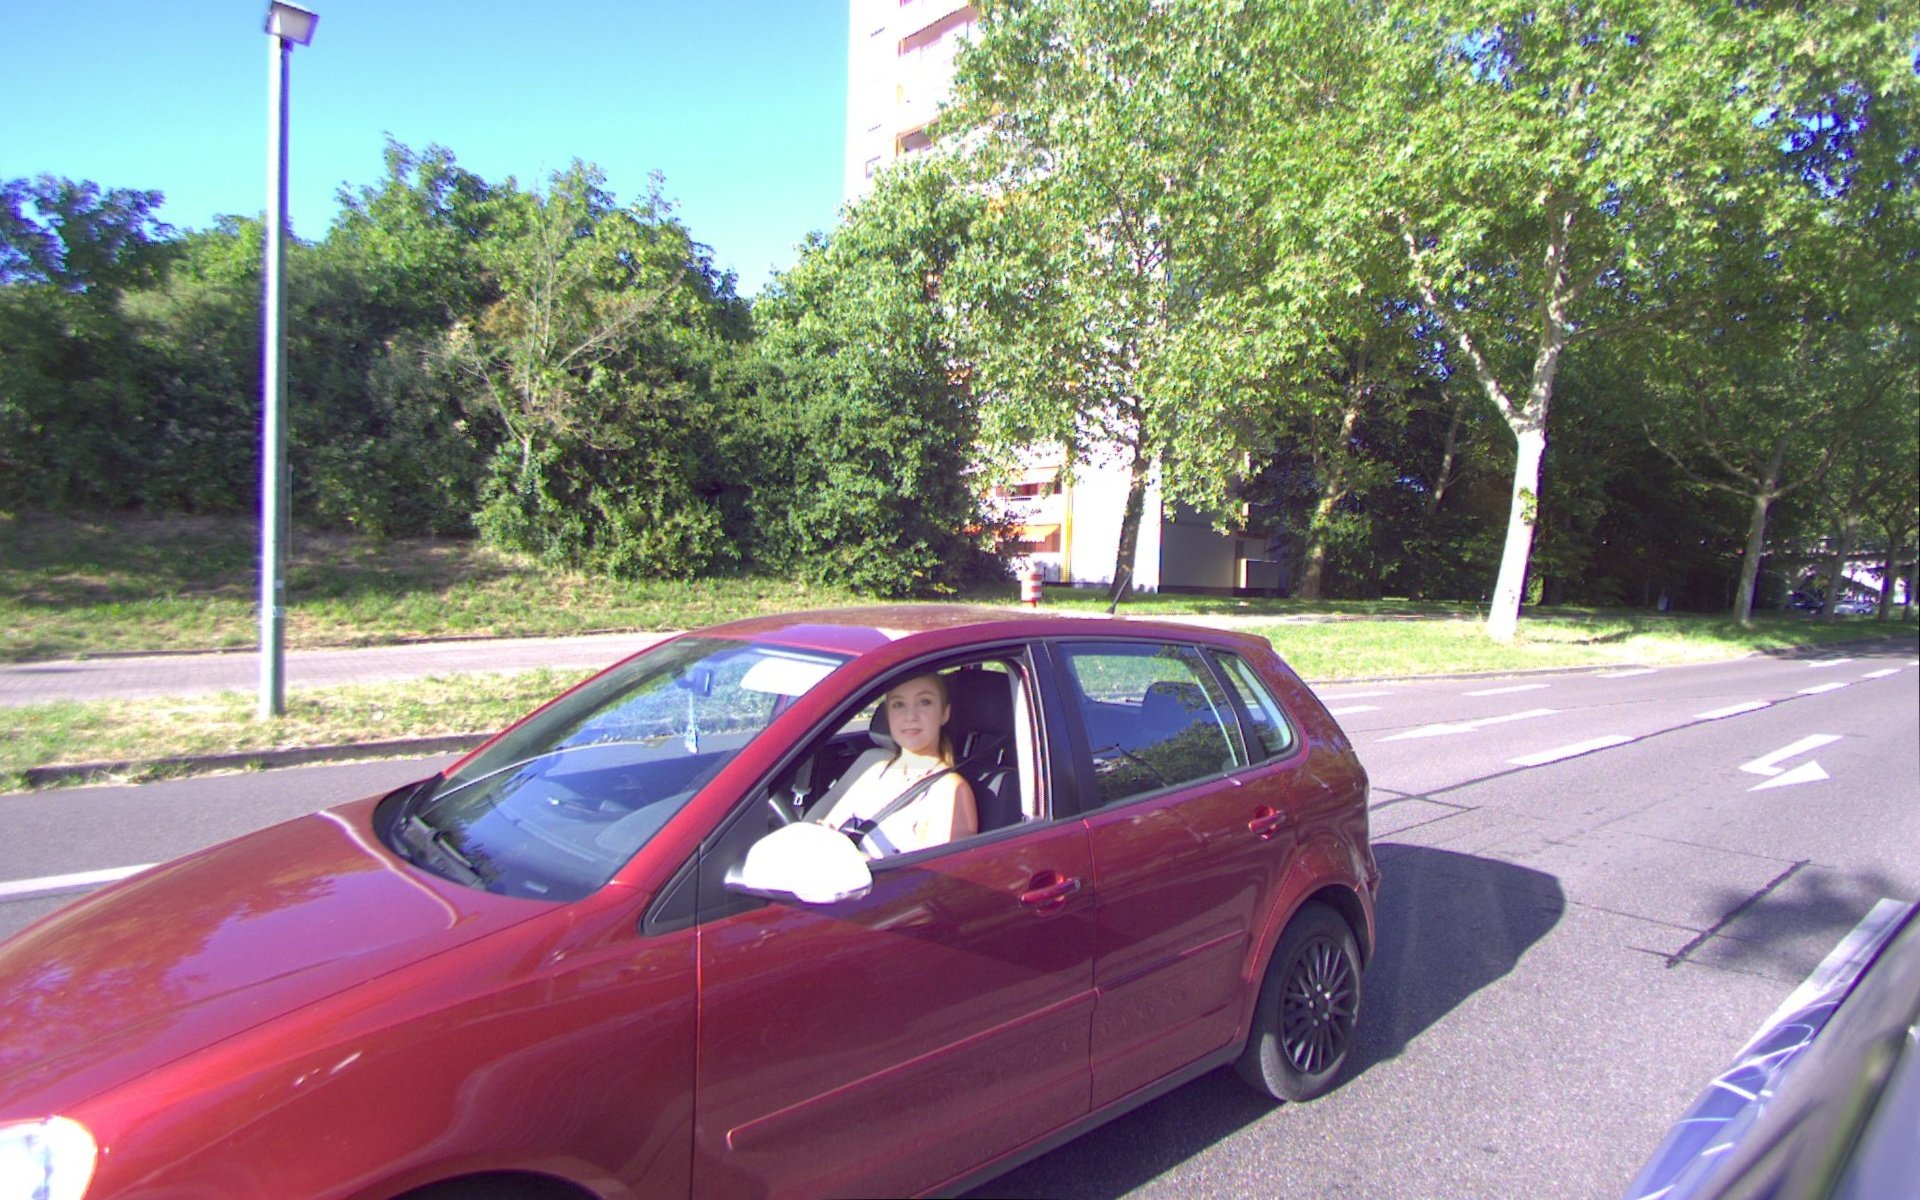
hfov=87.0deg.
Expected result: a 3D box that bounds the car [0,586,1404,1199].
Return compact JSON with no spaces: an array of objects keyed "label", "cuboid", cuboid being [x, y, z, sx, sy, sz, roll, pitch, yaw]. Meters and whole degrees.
[{"label":"car","cuboid":[-0.446,0.708,2.725,3.624,1.479,1.579,-1,0,-40]}]

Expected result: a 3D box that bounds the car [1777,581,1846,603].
[{"label":"car","cuboid":[76.946,-0.714,91.495,4.701,1.959,1.879,1,1,41]}]
